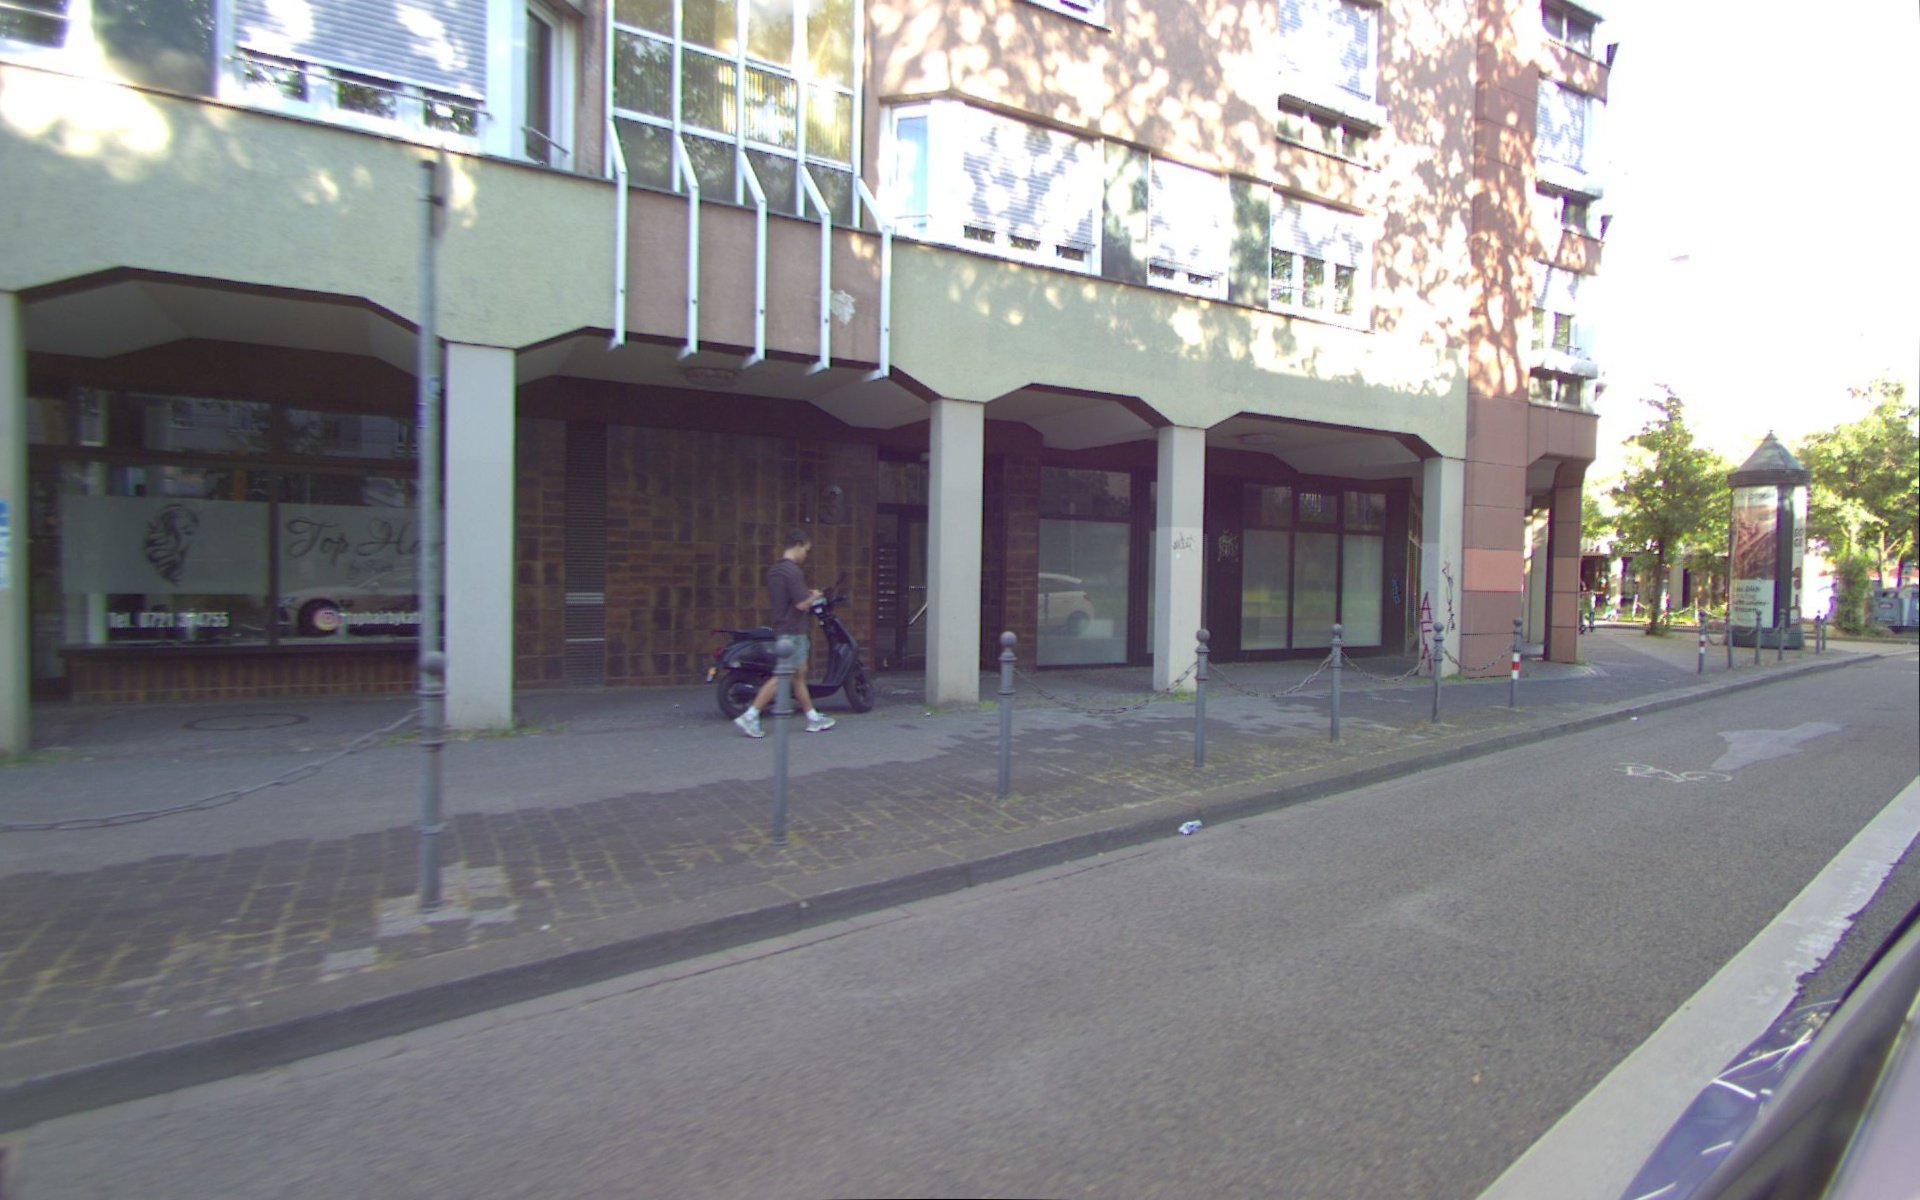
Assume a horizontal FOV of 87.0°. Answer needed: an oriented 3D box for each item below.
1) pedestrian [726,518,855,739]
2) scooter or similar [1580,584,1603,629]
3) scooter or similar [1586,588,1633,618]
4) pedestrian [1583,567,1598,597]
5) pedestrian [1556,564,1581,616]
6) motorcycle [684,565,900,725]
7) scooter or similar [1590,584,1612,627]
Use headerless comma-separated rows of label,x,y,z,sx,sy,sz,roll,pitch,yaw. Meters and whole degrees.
pedestrian,-1.444,0.215,8.578,0.820,1.760,0.784,0,1,-31
scooter or similar,18.186,0.169,29.163,0.482,1.231,1.435,2,1,30
scooter or similar,25.948,0.104,40.427,0.548,1.160,1.460,0,1,-34
pedestrian,39.230,-1.123,62.941,0.697,1.893,0.621,0,1,-44
pedestrian,23.851,-0.385,39.680,0.633,2.006,0.771,1,1,19
motorcycle,-1.546,0.381,9.623,2.053,1.389,0.489,0,1,-40
scooter or similar,19.700,0.148,31.130,0.482,1.290,1.435,2,1,30
